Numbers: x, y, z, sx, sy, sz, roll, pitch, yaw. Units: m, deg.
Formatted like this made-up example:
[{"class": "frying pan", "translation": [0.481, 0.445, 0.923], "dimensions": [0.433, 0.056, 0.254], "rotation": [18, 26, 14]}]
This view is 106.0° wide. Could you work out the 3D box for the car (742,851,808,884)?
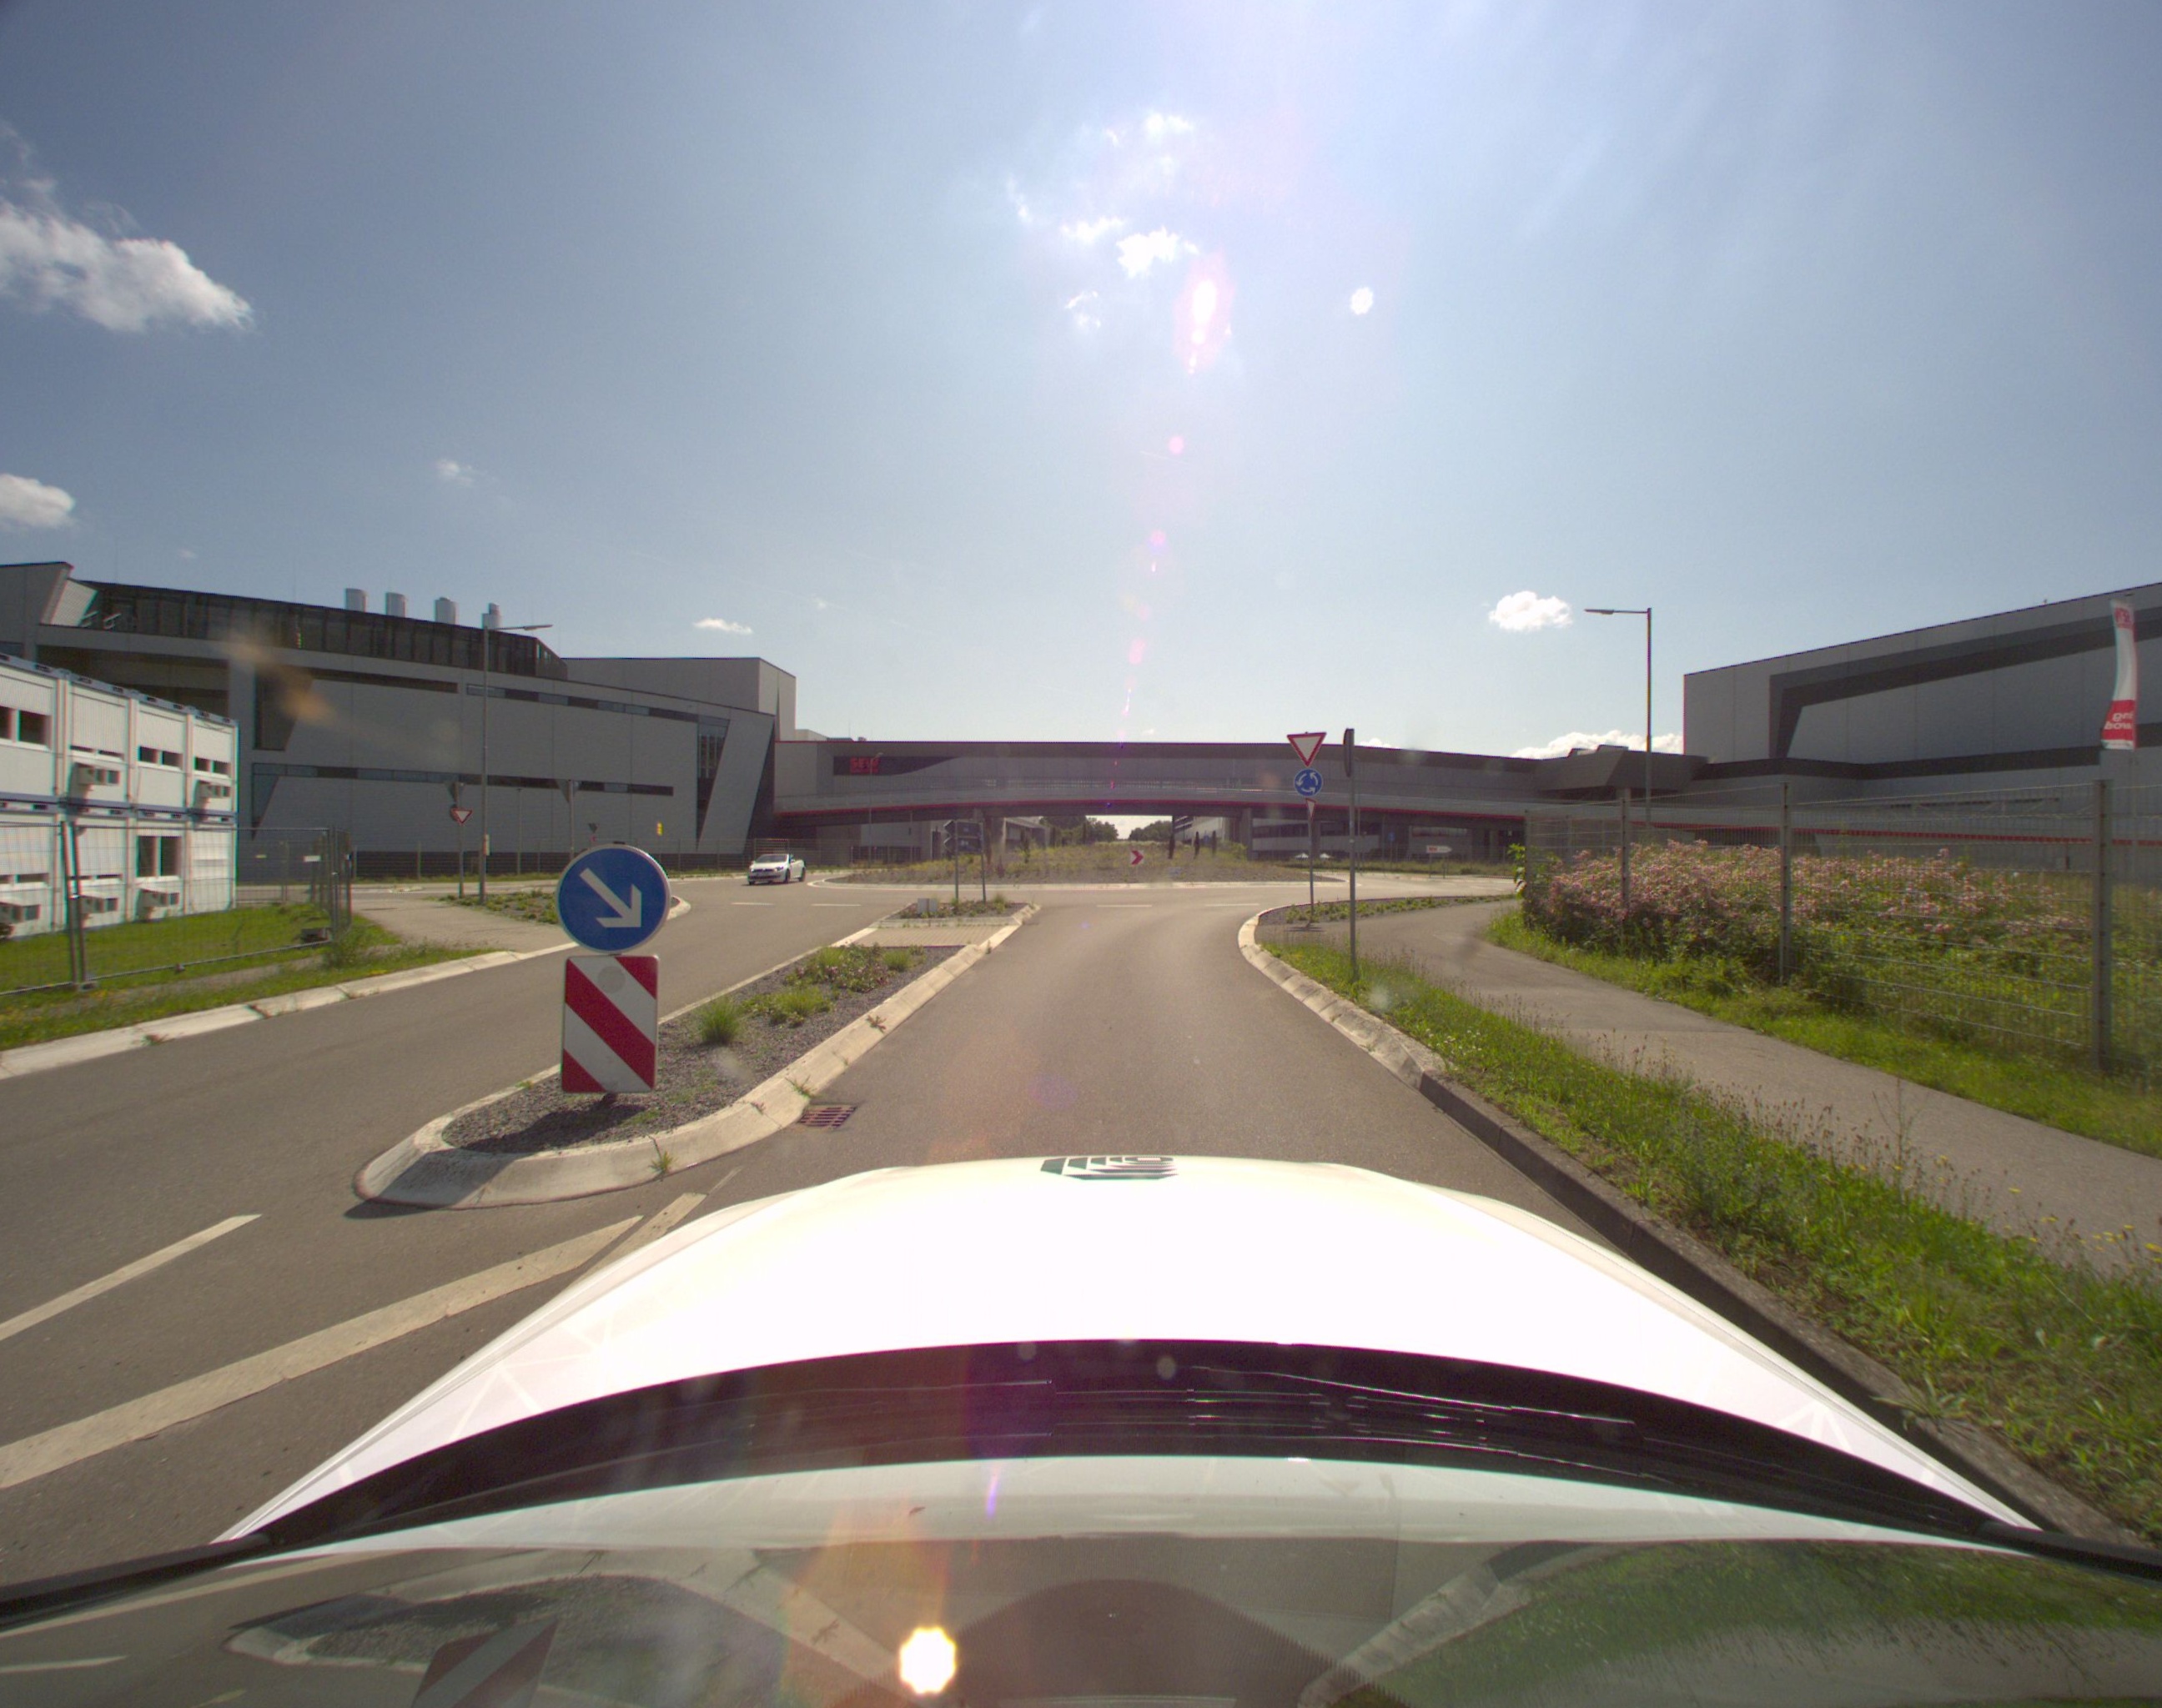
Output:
[{"class": "car", "translation": [-14.222, 0.622, 38.107], "dimensions": [1.766, 1.428, 4.047], "rotation": [-1, -1, -3]}]
